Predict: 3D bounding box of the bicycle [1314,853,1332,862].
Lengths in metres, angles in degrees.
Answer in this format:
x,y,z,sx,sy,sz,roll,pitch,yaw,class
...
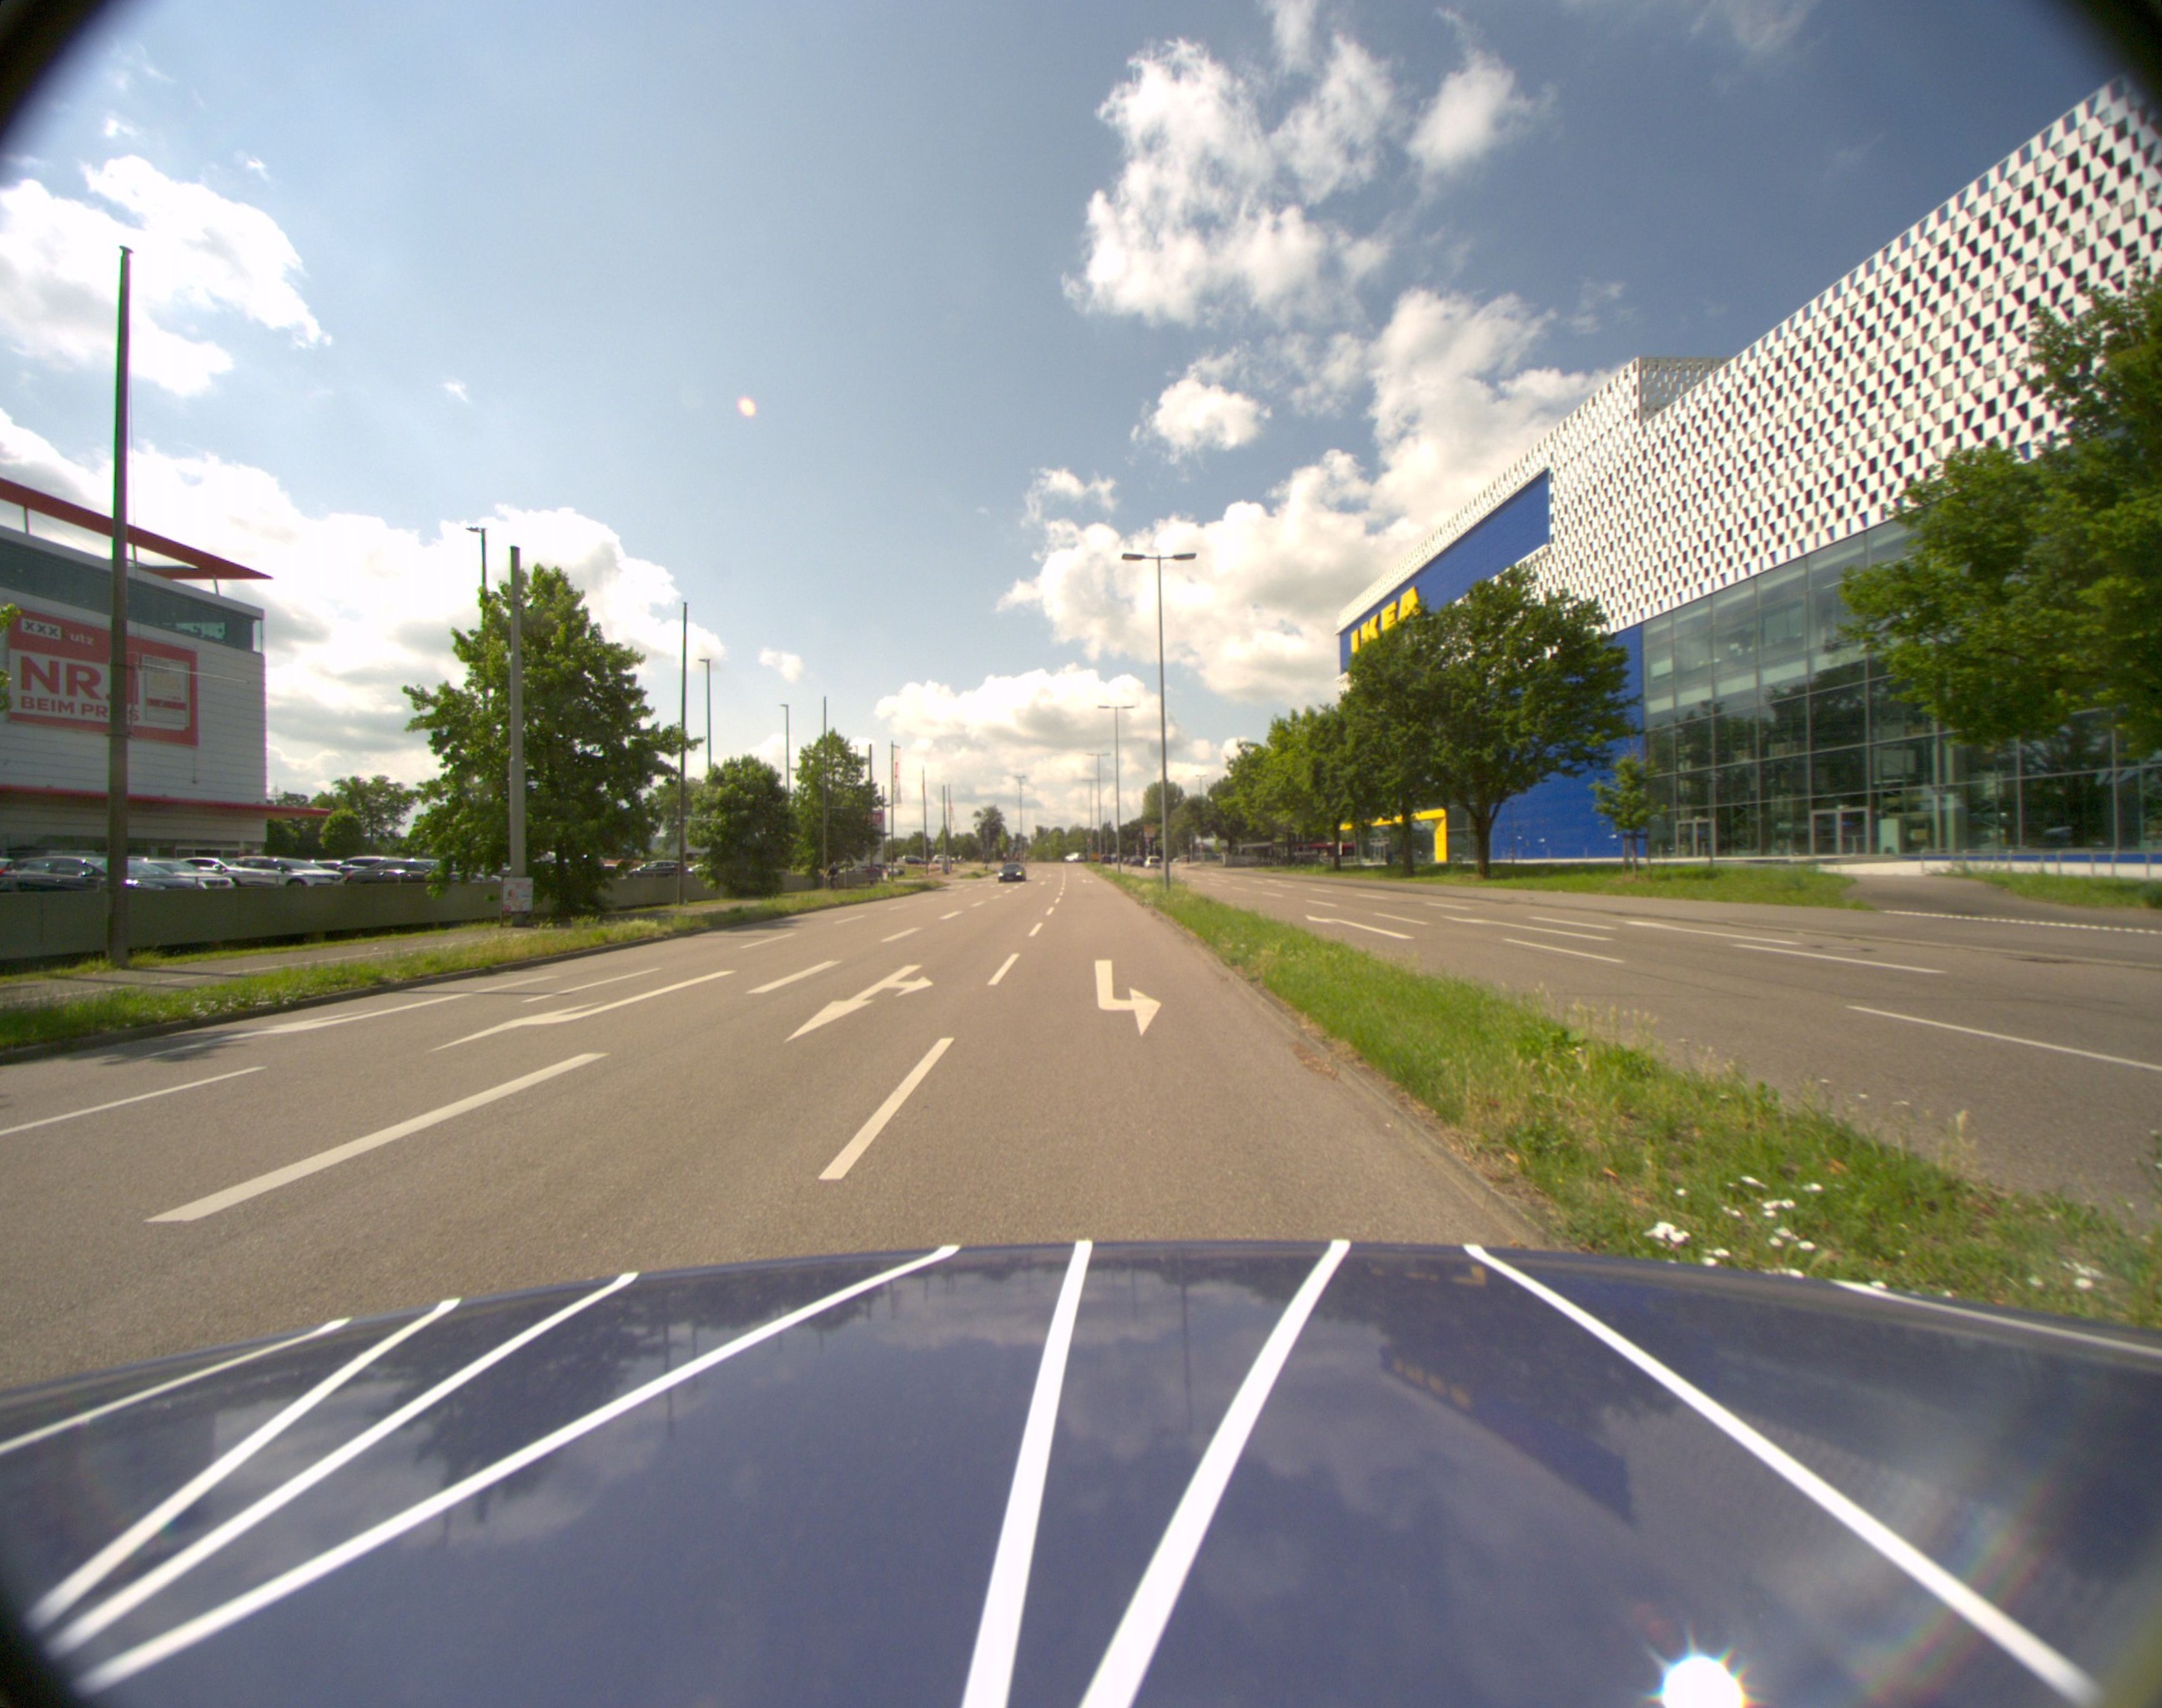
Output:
x,y,z,sx,sy,sz,roll,pitch,yaw,class
28.127,0.400,88.396,1.940,1.064,0.529,-1,1,-5,bicycle

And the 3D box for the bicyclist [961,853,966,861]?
x,y,z,sx,sy,sz,roll,pitch,yaw,class
-18.134,0.468,117.460,0.688,1.317,0.592,-2,0,-21,bicyclist

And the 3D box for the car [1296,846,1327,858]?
x,y,z,sx,sy,sz,roll,pitch,yaw,class
40.445,-0.313,133.549,4.821,2.001,1.999,-2,-1,-4,car

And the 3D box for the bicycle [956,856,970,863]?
x,y,z,sx,sy,sz,roll,pitch,yaw,class
-18.213,0.848,117.425,1.989,0.955,0.596,-1,0,-21,bicycle

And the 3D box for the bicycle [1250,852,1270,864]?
x,y,z,sx,sy,sz,roll,pitch,yaw,class
19.977,0.492,84.747,2.094,1.265,0.629,-2,0,-1,bicycle

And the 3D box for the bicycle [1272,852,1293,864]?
x,y,z,sx,sy,sz,roll,pitch,yaw,class
20.261,0.396,76.277,1.930,1.176,0.629,-2,0,-1,bicycle

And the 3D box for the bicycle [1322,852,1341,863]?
x,y,z,sx,sy,sz,roll,pitch,yaw,class
28.331,0.369,85.927,1.950,1.236,0.597,-1,1,-5,bicycle

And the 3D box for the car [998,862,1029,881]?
x,y,z,sx,sy,sz,roll,pitch,yaw,class
-5.131,1.296,58.157,1.797,1.311,4.163,-2,0,2,car

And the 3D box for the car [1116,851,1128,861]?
x,y,z,sx,sy,sz,roll,pitch,yaw,class
7.194,0.306,132.491,1.775,1.606,3.998,1,1,-1,car

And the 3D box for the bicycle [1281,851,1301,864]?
x,y,z,sx,sy,sz,roll,pitch,yaw,class
22.433,0.381,81.218,1.930,1.265,0.629,-2,0,-1,bicycle

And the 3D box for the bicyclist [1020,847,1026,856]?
x,y,z,sx,sy,sz,roll,pitch,yaw,class
-9.424,-0.414,124.032,0.698,1.526,0.619,-1,0,-44,bicyclist

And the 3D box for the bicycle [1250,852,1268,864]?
x,y,z,sx,sy,sz,roll,pitch,yaw,class
20.091,0.491,85.826,1.930,1.265,0.629,-2,0,-1,bicycle

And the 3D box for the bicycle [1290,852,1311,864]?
x,y,z,sx,sy,sz,roll,pitch,yaw,class
22.397,0.408,77.426,1.930,1.172,0.629,-2,0,-1,bicycle

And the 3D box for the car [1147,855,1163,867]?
x,y,z,sx,sy,sz,roll,pitch,yaw,class
8.895,0.848,91.354,1.647,1.420,3.670,0,0,0,car

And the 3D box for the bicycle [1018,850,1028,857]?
x,y,z,sx,sy,sz,roll,pitch,yaw,class
-9.443,-0.069,123.976,1.508,1.158,0.619,-1,-1,-44,bicycle

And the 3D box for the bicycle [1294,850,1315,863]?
x,y,z,sx,sy,sz,roll,pitch,yaw,class
22.446,0.283,76.330,1.930,1.265,0.629,-2,0,-1,bicycle

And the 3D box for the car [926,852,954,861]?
x,y,z,sx,sy,sz,roll,pitch,yaw,class
-23.408,0.449,126.307,4.495,1.405,2.013,-1,0,-4,car

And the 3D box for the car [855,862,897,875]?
x,y,z,sx,sy,sz,roll,pitch,yaw,class
-24.375,1.689,90.382,4.370,1.408,1.856,-2,0,-1,car

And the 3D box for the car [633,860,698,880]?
x,y,z,sx,sy,sz,roll,pitch,yaw,class
-32.559,1.229,59.640,4.065,1.522,1.741,0,1,-4,car

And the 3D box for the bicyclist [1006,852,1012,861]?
x,y,z,sx,sy,sz,roll,pitch,yaw,class
-11.529,0.387,121.839,0.744,1.466,0.649,-1,0,-41,bicyclist

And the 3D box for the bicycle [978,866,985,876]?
x,y,z,sx,sy,sz,roll,pitch,yaw,class
-9.920,1.697,75.751,0.518,0.947,1.543,-2,1,-1,bicycle

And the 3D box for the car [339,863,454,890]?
x,y,z,sx,sy,sz,roll,pitch,yaw,class
-34.358,1.095,38.217,4.194,1.317,1.688,0,0,-1,car

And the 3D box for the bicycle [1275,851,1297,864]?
x,y,z,sx,sy,sz,roll,pitch,yaw,class
20.252,0.329,75.183,1.930,1.265,0.629,-2,0,-1,bicycle

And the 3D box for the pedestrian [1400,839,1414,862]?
x,y,z,sx,sy,sz,roll,pitch,yaw,class
26.814,-0.303,62.502,0.755,1.812,0.887,-2,1,-1,pedestrian

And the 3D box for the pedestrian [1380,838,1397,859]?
x,y,z,sx,sy,sz,roll,pitch,yaw,class
25.157,-0.426,62.206,0.952,1.692,0.887,-2,1,-1,pedestrian

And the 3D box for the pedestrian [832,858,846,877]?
x,y,z,sx,sy,sz,roll,pitch,yaw,class
-22.468,1.261,70.571,0.782,1.771,0.874,-2,0,43,pedestrian

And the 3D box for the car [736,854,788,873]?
x,y,z,sx,sy,sz,roll,pitch,yaw,class
-28.983,0.861,69.084,4.026,1.578,1.695,-1,-1,-2,car

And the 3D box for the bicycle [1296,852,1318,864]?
x,y,z,sx,sy,sz,roll,pitch,yaw,class
22.385,0.379,75.382,1.930,1.177,0.629,-2,0,-1,bicycle

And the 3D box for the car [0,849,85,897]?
x,y,z,sx,sy,sz,roll,pitch,yaw,class
-40.558,0.738,28.386,3.997,1.710,2.000,-2,-1,0,car

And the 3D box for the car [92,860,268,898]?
x,y,z,sx,sy,sz,roll,pitch,yaw,class
-33.996,0.932,28.764,4.195,1.381,1.892,0,-1,-4,car

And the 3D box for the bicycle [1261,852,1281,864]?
x,y,z,sx,sy,sz,roll,pitch,yaw,class
20.279,0.432,81.160,1.930,1.265,0.629,-2,0,-1,bicycle

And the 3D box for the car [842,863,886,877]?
x,y,z,sx,sy,sz,roll,pitch,yaw,class
-24.362,1.793,85.549,4.369,1.468,1.857,-2,0,1,car

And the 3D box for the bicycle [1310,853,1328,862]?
x,y,z,sx,sy,sz,roll,pitch,yaw,class
28.074,0.404,89.510,1.935,1.083,0.520,-2,0,-5,bicycle

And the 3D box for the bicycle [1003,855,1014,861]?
x,y,z,sx,sy,sz,roll,pitch,yaw,class
-11.600,0.649,121.759,1.699,0.955,0.664,-1,-1,-41,bicycle

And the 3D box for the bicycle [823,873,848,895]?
x,y,z,sx,sy,sz,roll,pitch,yaw,class
-12.436,1.516,38.492,0.625,1.061,1.968,0,0,0,bicycle

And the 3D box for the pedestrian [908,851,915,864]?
x,y,z,sx,sy,sz,roll,pitch,yaw,class
-25.107,0.516,112.476,0.865,1.754,0.863,2,-3,-4,pedestrian

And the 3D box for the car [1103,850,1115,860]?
x,y,z,sx,sy,sz,roll,pitch,yaw,class
4.287,0.126,117.696,1.608,1.485,4.131,1,1,-1,car

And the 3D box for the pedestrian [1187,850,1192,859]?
x,y,z,sx,sy,sz,roll,pitch,yaw,class
17.408,0.121,121.809,0.439,1.481,0.619,-2,1,-18,pedestrian

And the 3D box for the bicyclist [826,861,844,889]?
x,y,z,sx,sy,sz,roll,pitch,yaw,class
-12.446,1.071,38.450,0.617,1.404,0.715,-1,0,0,bicyclist

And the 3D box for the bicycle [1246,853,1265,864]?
x,y,z,sx,sy,sz,roll,pitch,yaw,class
20.028,0.513,87.172,1.930,1.265,0.629,-2,0,-1,bicycle

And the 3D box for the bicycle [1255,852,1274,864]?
x,y,z,sx,sy,sz,roll,pitch,yaw,class
20.177,0.418,83.531,1.930,1.265,0.629,-2,0,-1,bicycle

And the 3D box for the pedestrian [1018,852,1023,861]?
x,y,z,sx,sy,sz,roll,pitch,yaw,class
-9.530,0.391,120.274,0.585,1.515,0.469,-2,1,8,pedestrian

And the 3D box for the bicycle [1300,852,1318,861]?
x,y,z,sx,sy,sz,roll,pitch,yaw,class
27.689,0.270,92.304,1.940,1.064,0.529,-1,1,-5,bicycle

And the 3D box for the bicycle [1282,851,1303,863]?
x,y,z,sx,sy,sz,roll,pitch,yaw,class
22.309,0.321,80.207,1.930,1.265,0.629,-2,0,-1,bicycle

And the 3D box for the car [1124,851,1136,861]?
x,y,z,sx,sy,sz,roll,pitch,yaw,class
7.475,0.331,115.731,1.415,1.383,4.095,1,0,-1,car

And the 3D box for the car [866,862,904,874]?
x,y,z,sx,sy,sz,roll,pitch,yaw,class
-24.667,1.793,95.787,4.370,1.431,1.796,-1,0,0,car

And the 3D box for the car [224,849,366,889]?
x,y,z,sx,sy,sz,roll,pitch,yaw,class
-34.424,0.633,33.380,3.998,1.562,1.999,-2,1,-3,car

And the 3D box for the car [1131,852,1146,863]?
x,y,z,sx,sy,sz,roll,pitch,yaw,class
7.801,0.424,103.616,1.668,1.413,4.518,1,0,-1,car

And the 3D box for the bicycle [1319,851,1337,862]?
x,y,z,sx,sy,sz,roll,pitch,yaw,class
28.242,0.275,86.864,1.940,1.202,0.529,-1,1,-5,bicycle

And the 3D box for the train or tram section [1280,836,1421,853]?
x,y,z,sx,sy,sz,roll,pitch,yaw,class
50.714,-1.731,143.398,25.116,3.014,4.529,0,0,-2,train or tram section
